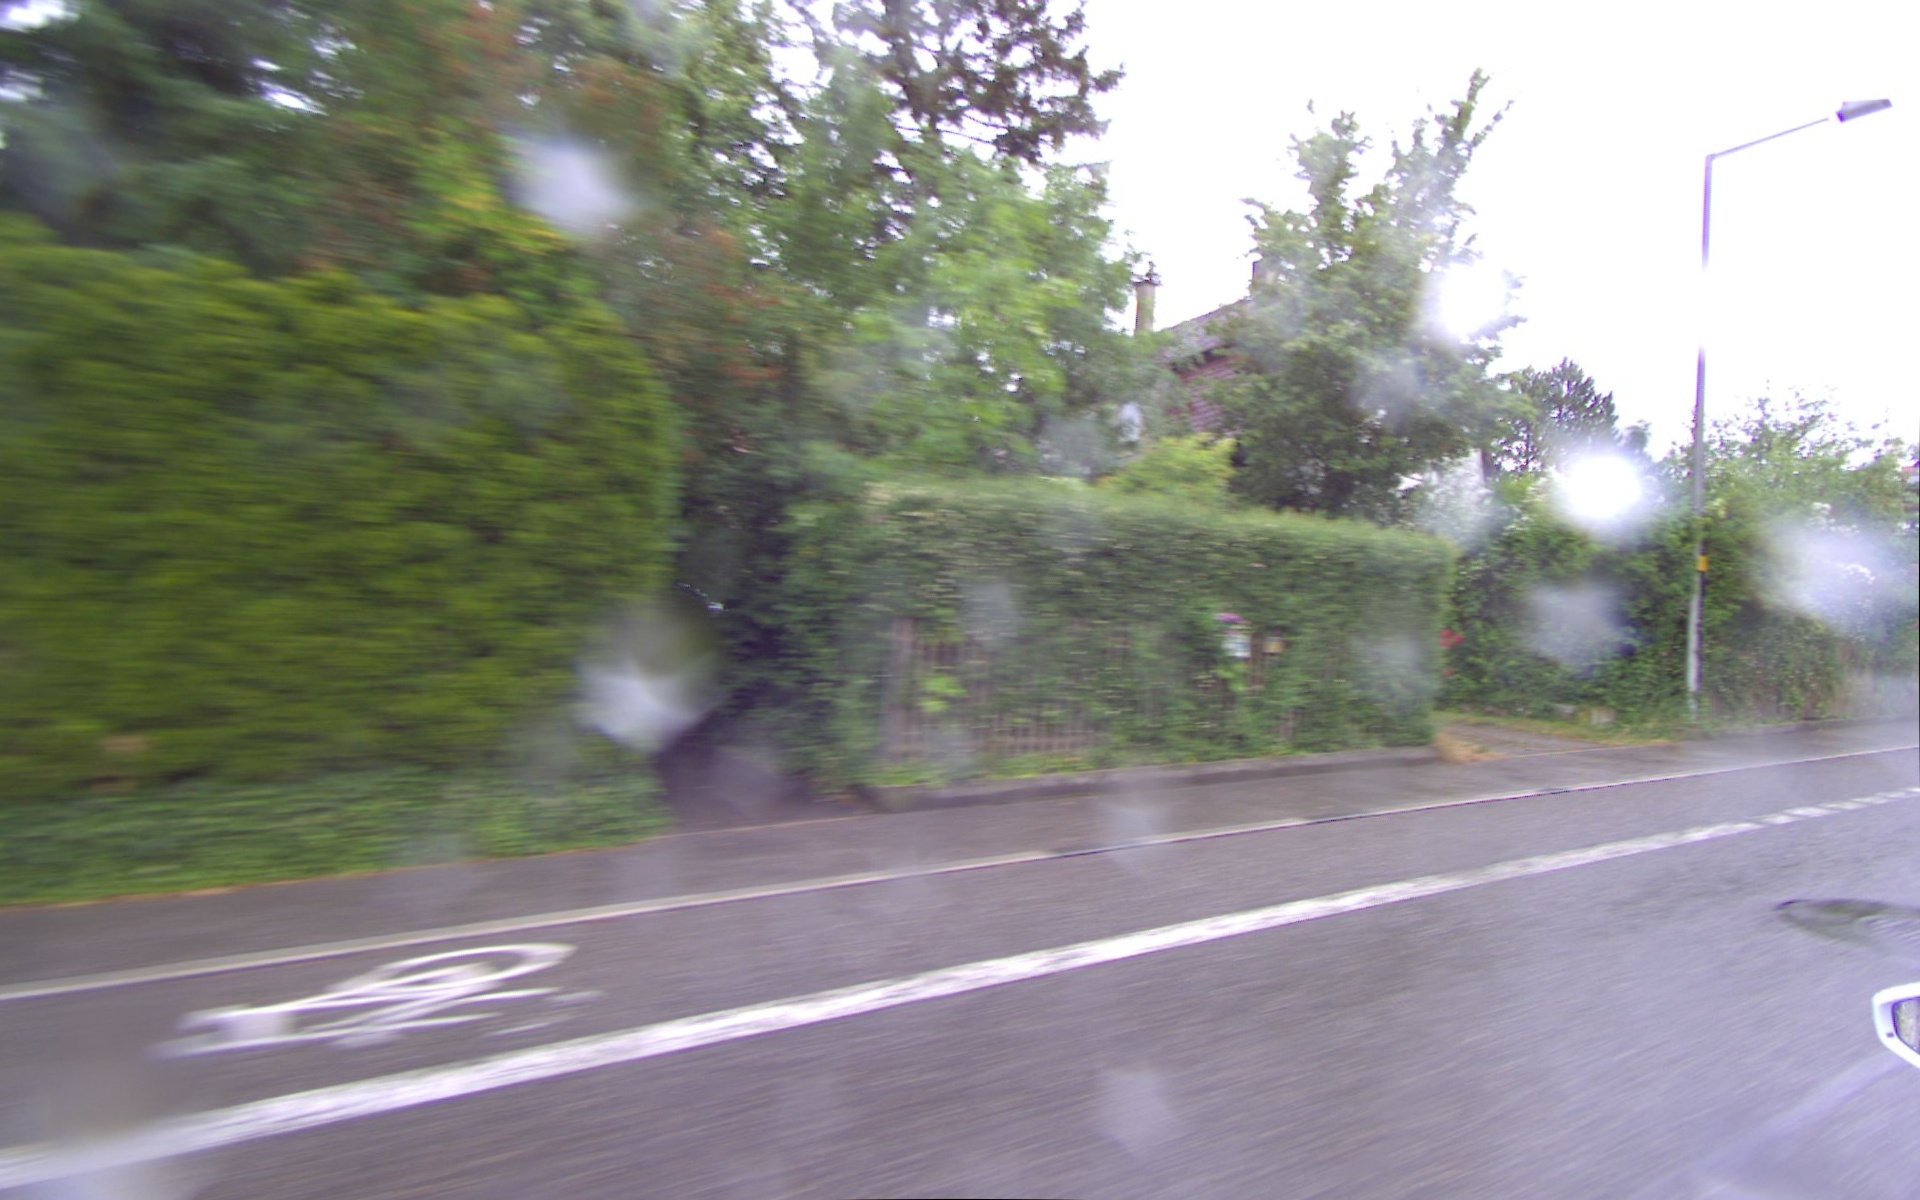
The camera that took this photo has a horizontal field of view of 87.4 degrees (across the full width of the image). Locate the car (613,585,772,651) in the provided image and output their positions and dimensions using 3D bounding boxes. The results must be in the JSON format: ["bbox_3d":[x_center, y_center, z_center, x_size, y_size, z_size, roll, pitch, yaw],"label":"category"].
[{"bbox_3d":[-6.868,0.469,26.085,3.780,1.388,1.632,5,-1,-13],"label":"car"}]
